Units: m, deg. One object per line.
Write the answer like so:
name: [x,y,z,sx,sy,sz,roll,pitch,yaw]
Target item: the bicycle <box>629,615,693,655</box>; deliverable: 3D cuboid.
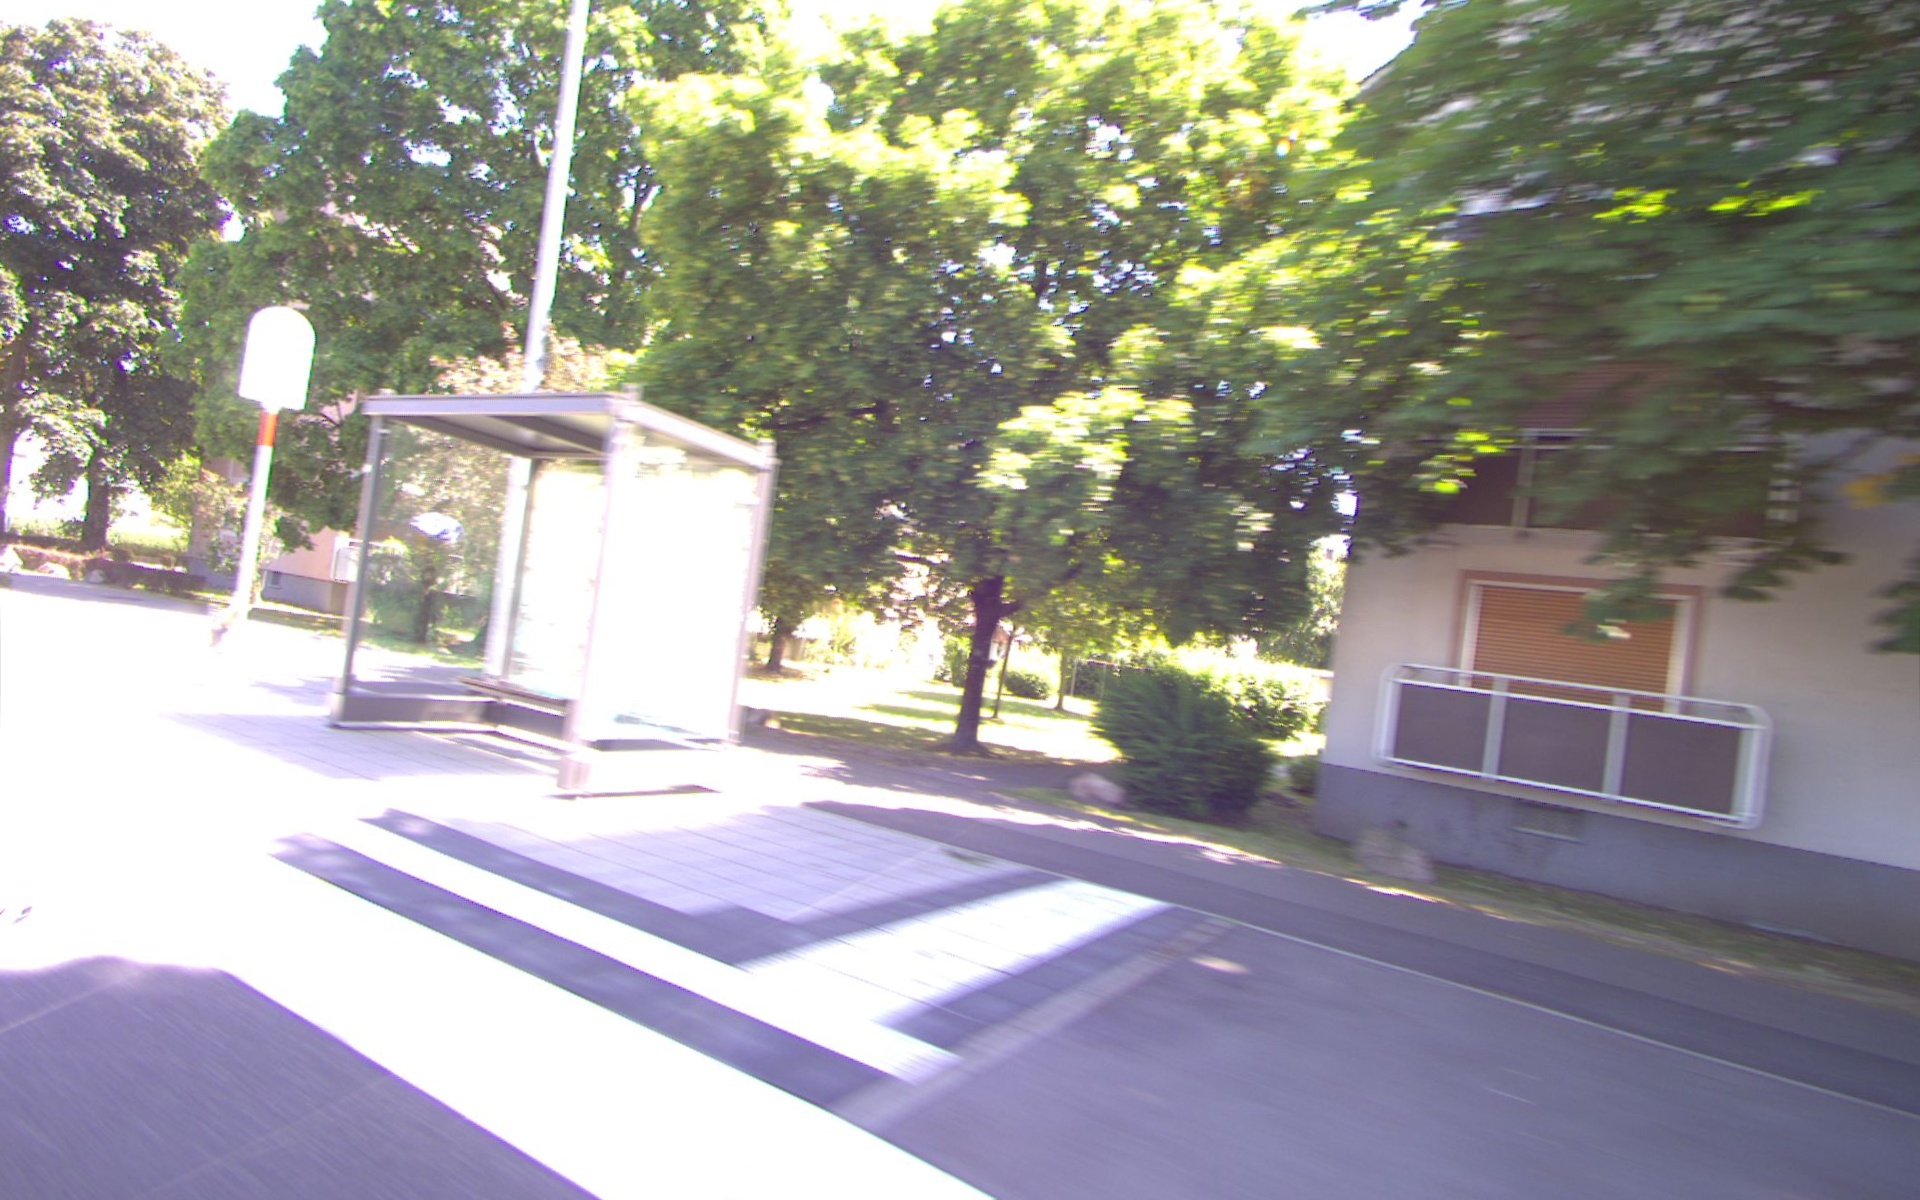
bicycle: [-10.253,1.185,34.456,2.149,1.078,0.724,7,-2,32]
